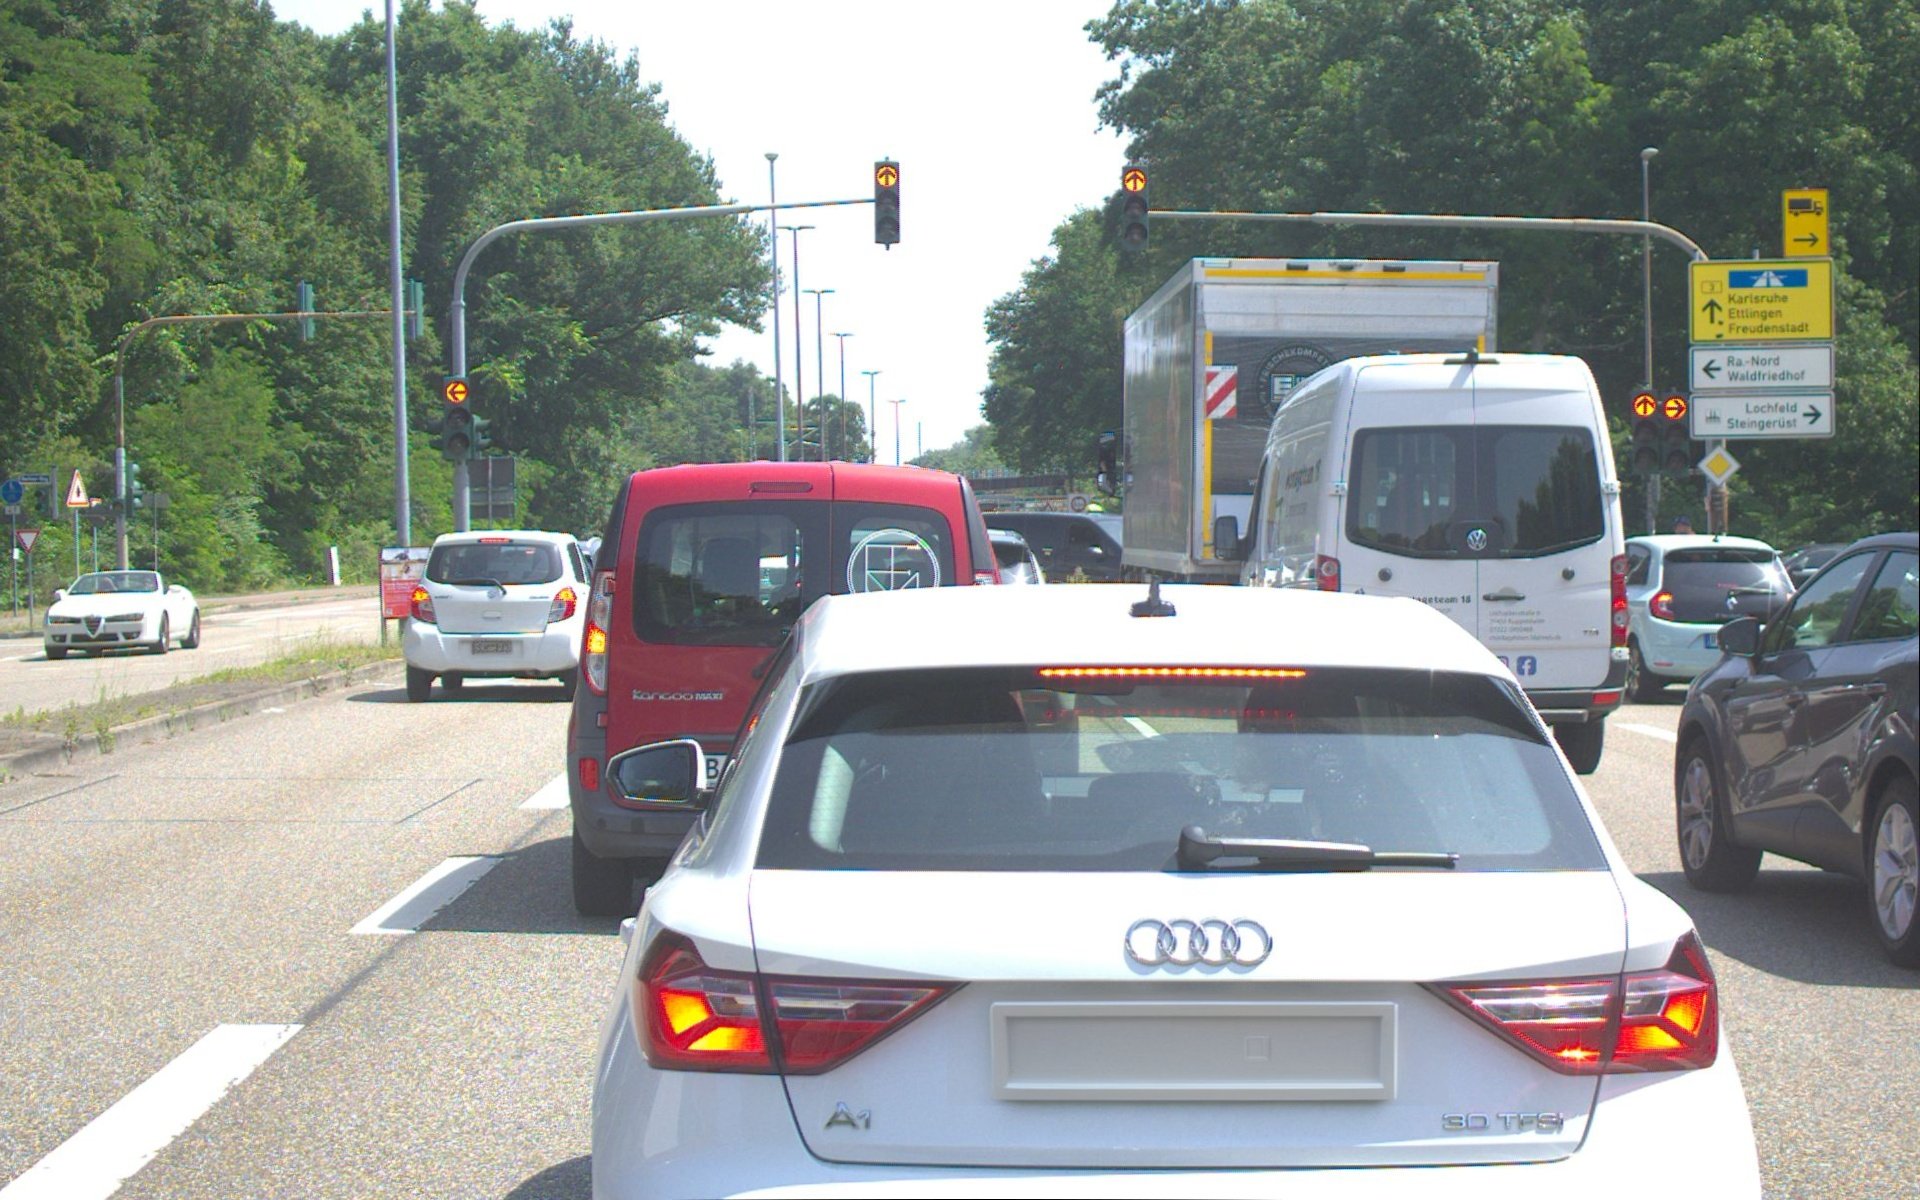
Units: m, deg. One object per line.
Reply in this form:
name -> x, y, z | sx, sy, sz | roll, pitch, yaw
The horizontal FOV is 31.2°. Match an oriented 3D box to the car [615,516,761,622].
car -> -5.455, -0.634, 68.418 | 1.993, 2.007, 4.001 | -2, 1, -18

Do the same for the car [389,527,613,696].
car -> -4.237, 0.060, 32.260 | 1.711, 1.487, 4.092 | 0, 1, -2

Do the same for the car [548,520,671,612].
car -> -8.041, -0.788, 78.596 | 1.993, 2.007, 4.001 | -2, 1, -18

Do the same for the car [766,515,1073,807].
car -> -0.309, 0.299, 21.243 | 1.711, 1.626, 4.092 | 0, 1, -2

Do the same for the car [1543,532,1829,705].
car -> 6.843, 0.125, 32.810 | 1.711, 1.541, 4.092 | 0, 1, -2

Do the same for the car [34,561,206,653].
car -> -13.262, 0.083, 54.509 | 1.718, 1.258, 4.302 | -3, 1, -1

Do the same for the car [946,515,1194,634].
car -> 1.927, -0.451, 60.990 | 3.996, 2.007, 1.995 | 0, 1, 40

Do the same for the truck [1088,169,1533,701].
truck -> 3.145, -1.499, 34.557 | 3.088, 4.418, 11.581 | 1, 1, -1

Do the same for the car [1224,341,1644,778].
car -> 3.054, -0.293, 23.215 | 2.031, 2.635, 4.846 | 0, 1, -2

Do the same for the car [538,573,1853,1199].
car -> 0.226, 0.667, 6.513 | 1.711, 1.381, 4.092 | 0, 1, -2

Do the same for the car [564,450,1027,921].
car -> -0.692, 0.276, 14.785 | 1.711, 1.742, 4.092 | 0, 1, -2

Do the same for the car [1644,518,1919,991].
car -> 4.007, 0.482, 13.392 | 1.711, 1.587, 4.092 | 0, 1, -2

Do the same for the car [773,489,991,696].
car -> -0.698, -0.103, 29.059 | 1.711, 1.626, 4.092 | 0, 1, -2
